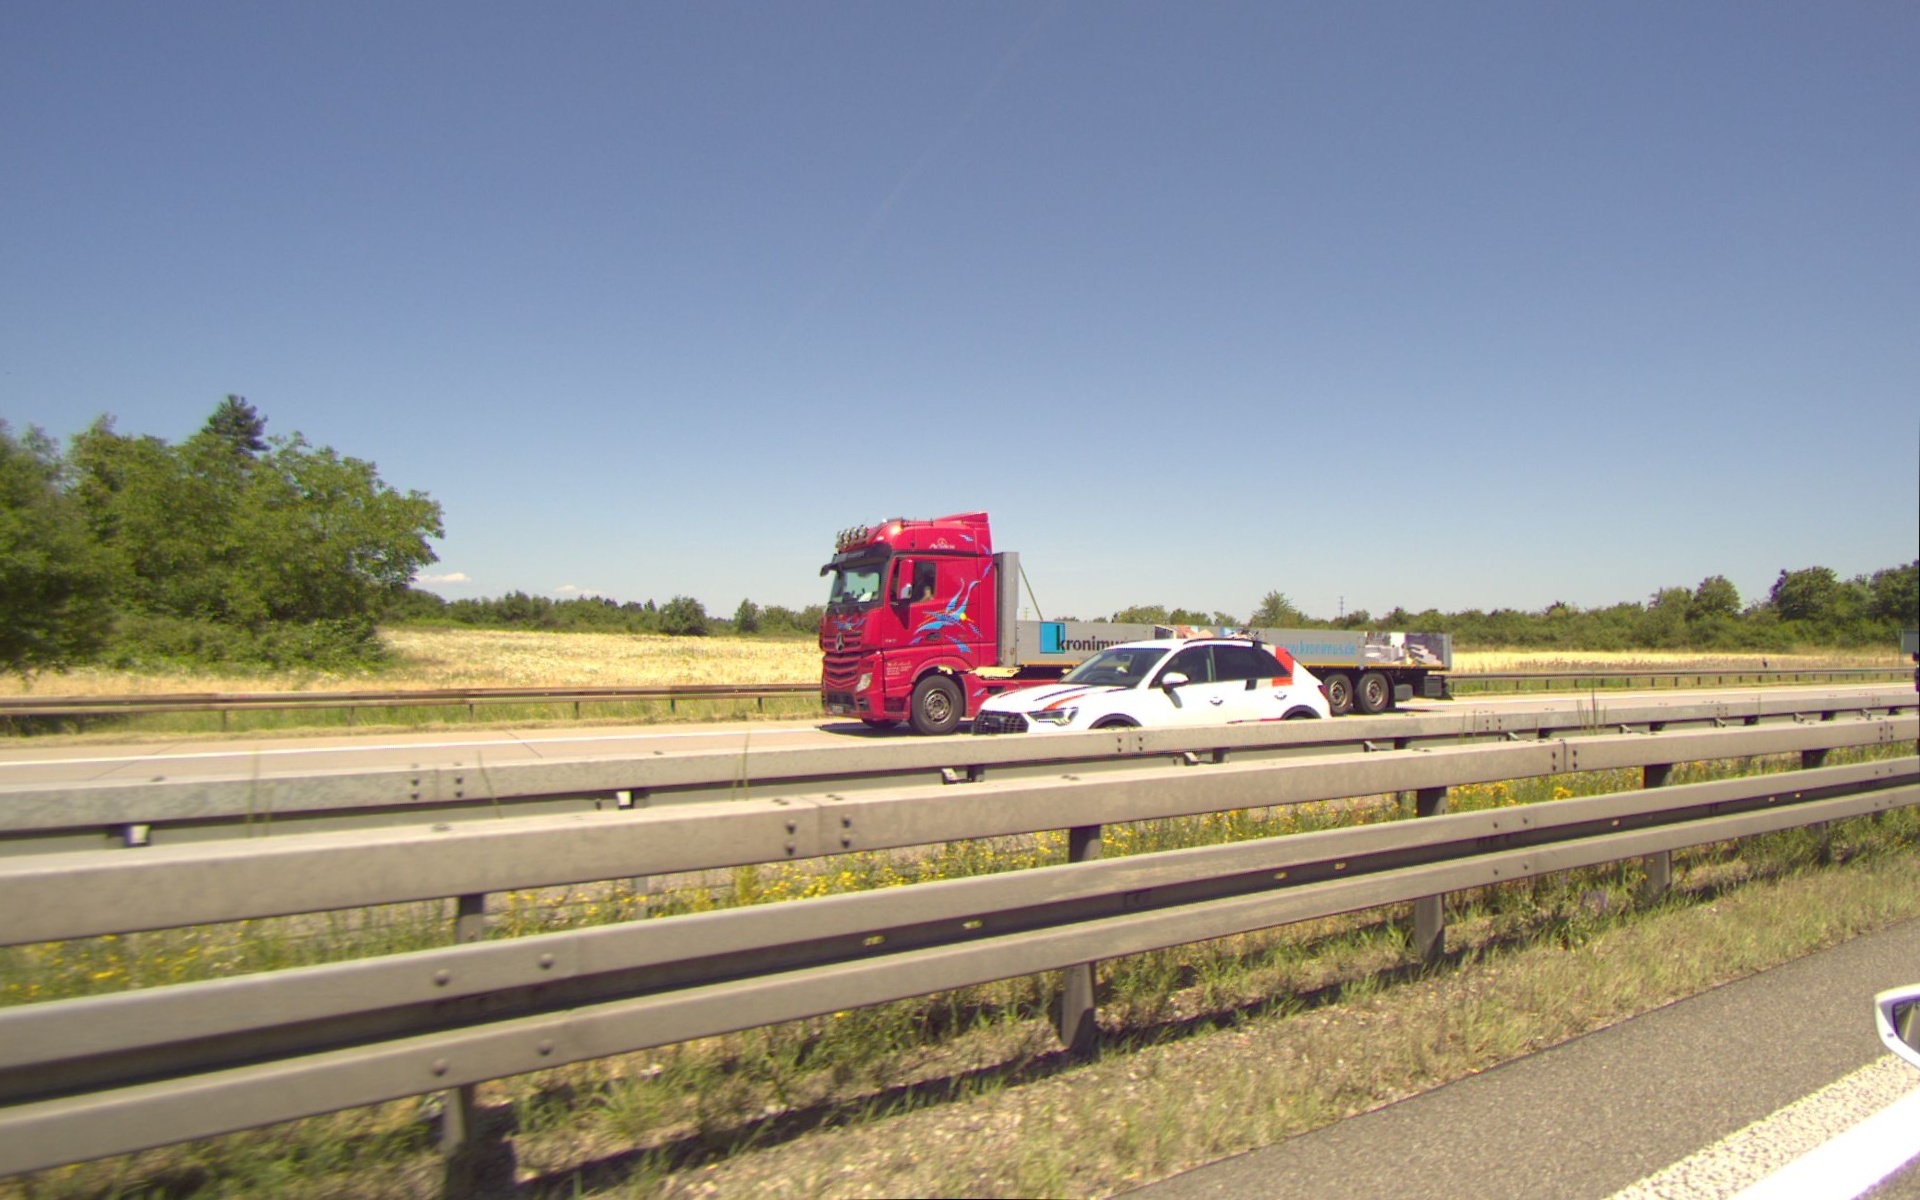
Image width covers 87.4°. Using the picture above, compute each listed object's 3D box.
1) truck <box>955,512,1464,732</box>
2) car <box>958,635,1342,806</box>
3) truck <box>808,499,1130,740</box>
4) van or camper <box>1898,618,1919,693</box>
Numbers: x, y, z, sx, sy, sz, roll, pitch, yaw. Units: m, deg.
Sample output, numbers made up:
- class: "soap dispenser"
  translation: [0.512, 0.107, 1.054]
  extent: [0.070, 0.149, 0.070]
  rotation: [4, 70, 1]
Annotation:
- class: "truck"
  translation: [6.324, 0.636, 23.223]
  extent: [13.367, 4.066, 2.748]
  rotation: [2, -3, -31]
- class: "car"
  translation: [2.162, 1.218, 11.225]
  extent: [4.047, 1.589, 1.796]
  rotation: [2, -3, -30]
- class: "truck"
  translation: [0.210, 0.455, 19.547]
  extent: [5.684, 4.066, 2.748]
  rotation: [2, -3, -31]
- class: "van or camper"
  translation: [36.270, 1.992, 36.110]
  extent: [5.806, 2.622, 2.160]
  rotation: [2, -4, -31]
